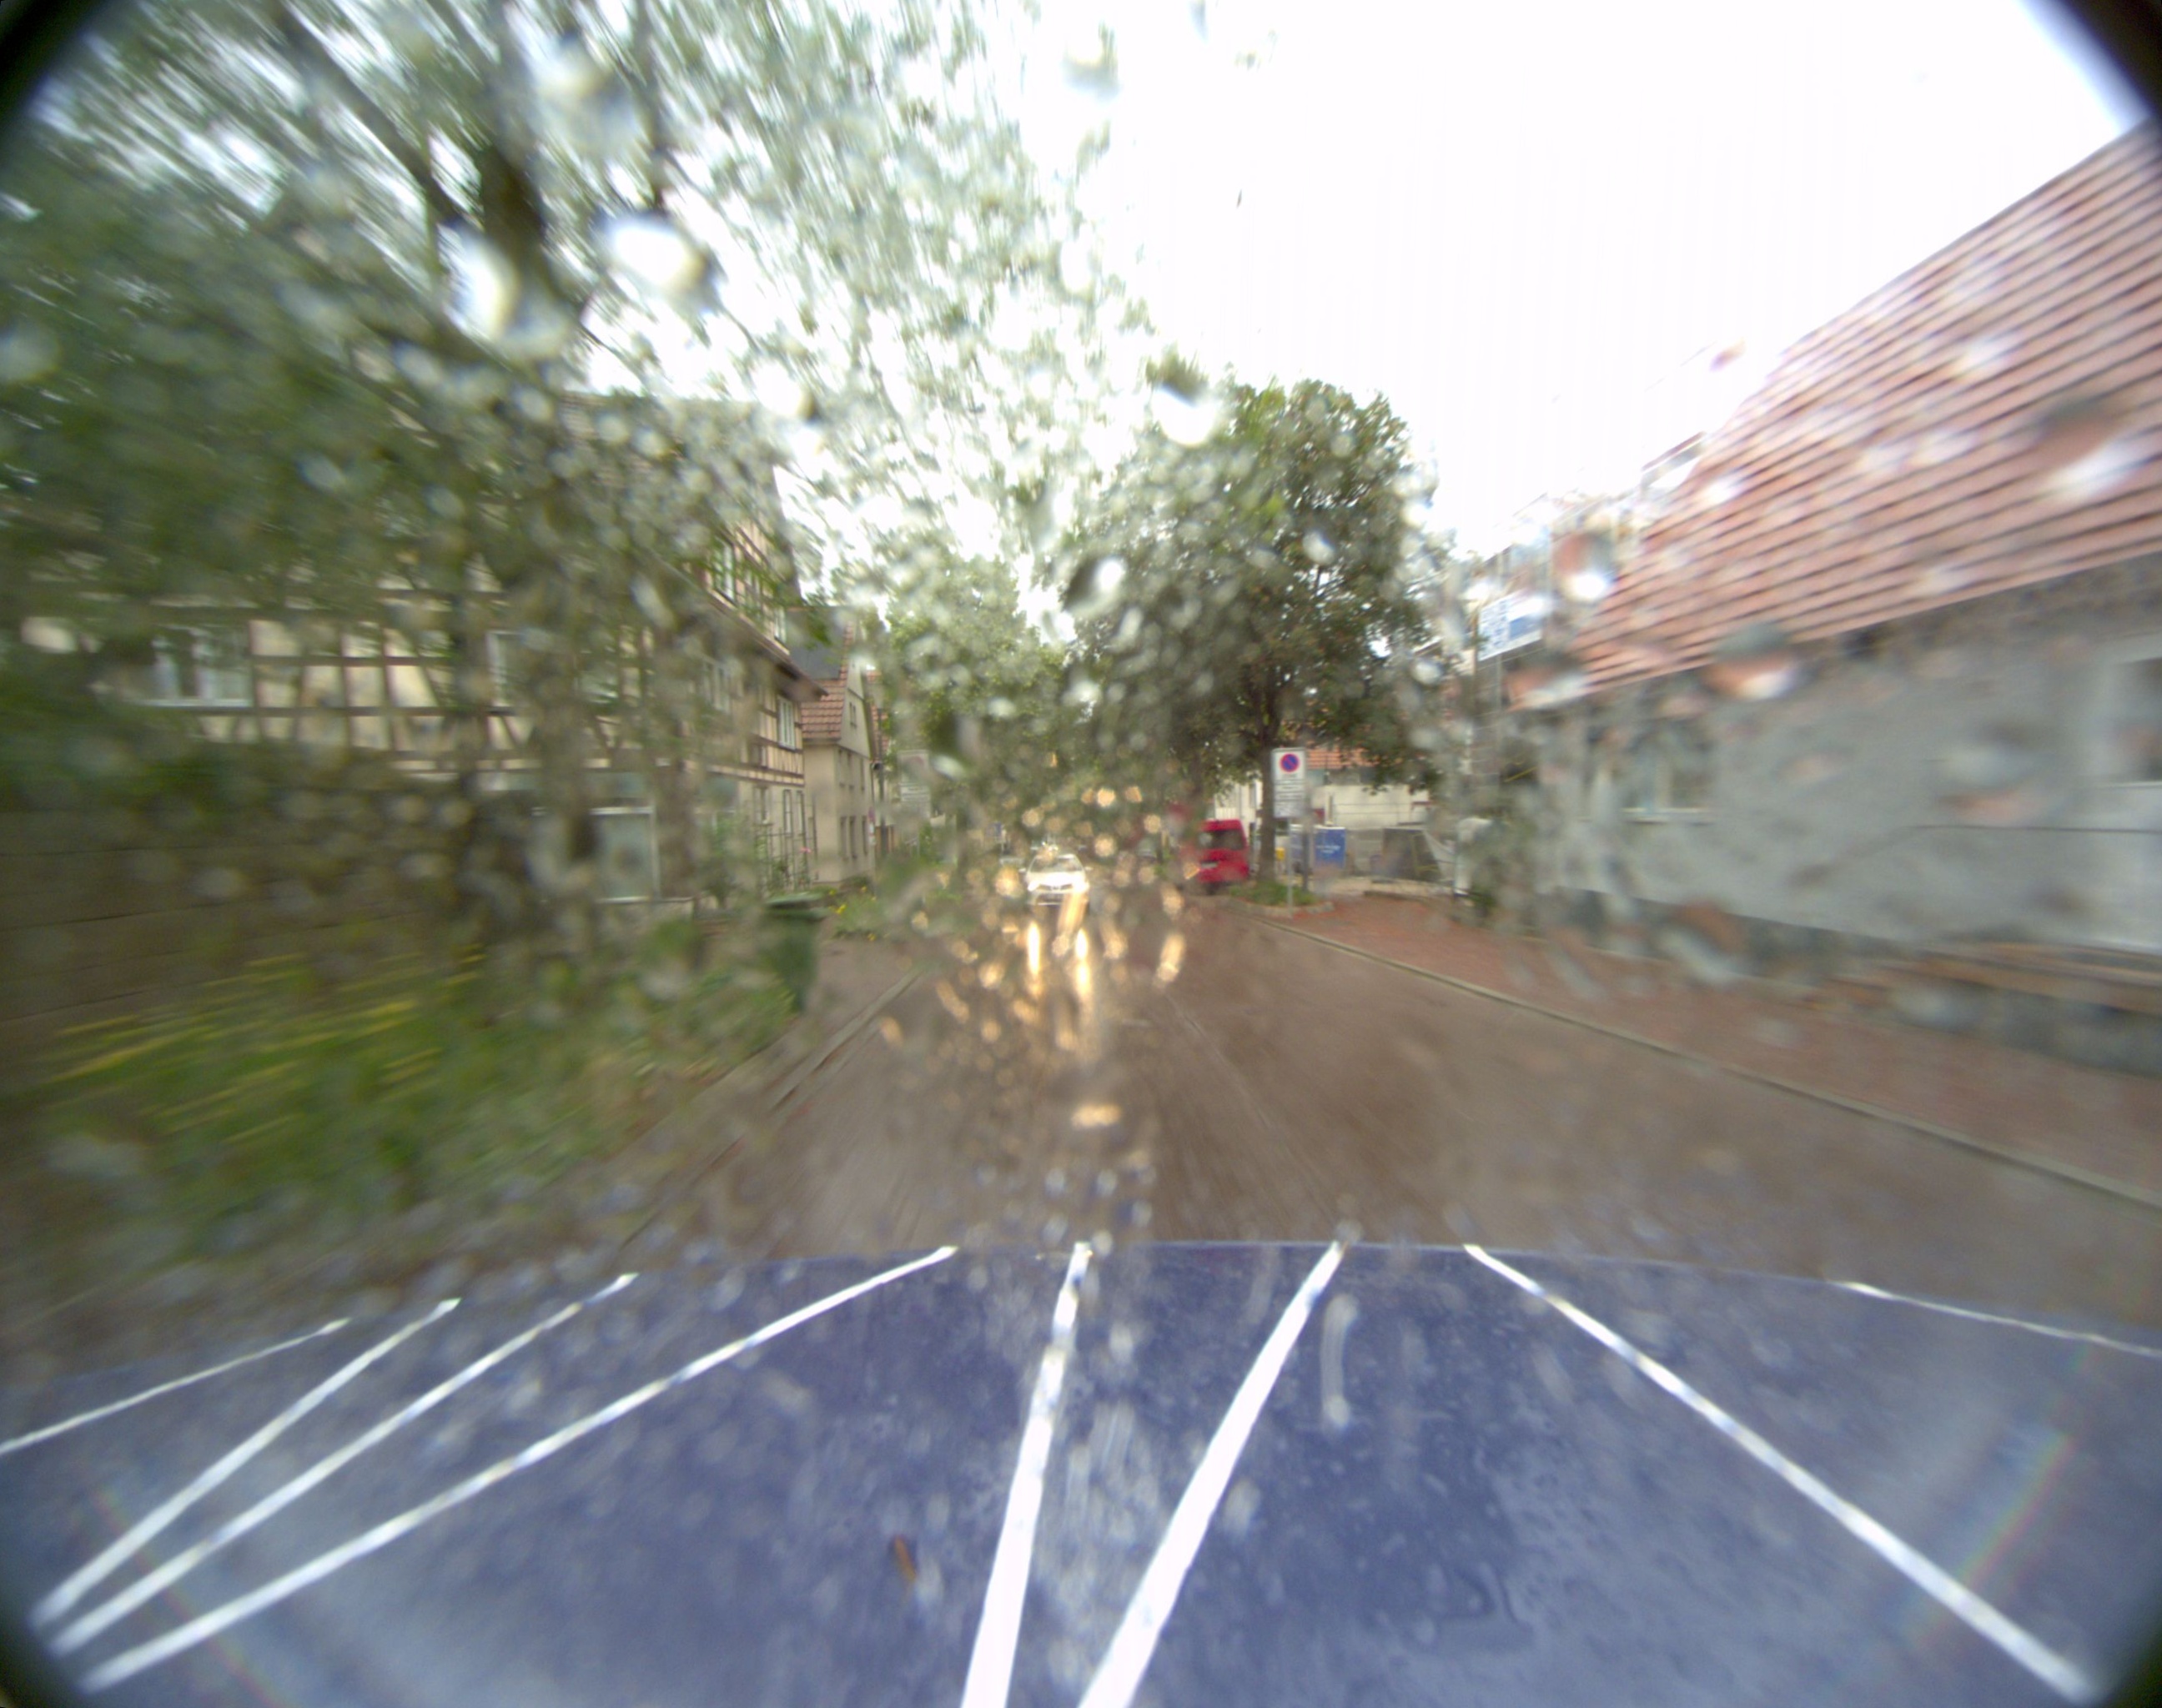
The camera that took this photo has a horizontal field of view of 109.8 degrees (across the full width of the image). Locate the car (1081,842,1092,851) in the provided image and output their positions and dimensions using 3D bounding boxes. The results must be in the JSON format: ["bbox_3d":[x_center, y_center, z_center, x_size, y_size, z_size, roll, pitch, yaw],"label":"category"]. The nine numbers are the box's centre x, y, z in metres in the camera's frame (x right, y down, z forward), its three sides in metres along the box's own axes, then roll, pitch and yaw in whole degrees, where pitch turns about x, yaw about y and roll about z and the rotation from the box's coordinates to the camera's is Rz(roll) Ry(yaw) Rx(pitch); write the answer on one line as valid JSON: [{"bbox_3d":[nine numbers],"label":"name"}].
[{"bbox_3d":[0.869,-1.265,130.670,1.754,1.388,3.794,-1,1,-1],"label":"car"}]

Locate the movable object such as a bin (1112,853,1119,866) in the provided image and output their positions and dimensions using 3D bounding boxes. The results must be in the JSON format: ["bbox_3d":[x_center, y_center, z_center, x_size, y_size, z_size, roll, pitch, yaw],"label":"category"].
[{"bbox_3d":[3.088,0.474,67.660,0.612,1.105,0.564,-1,1,0],"label":"movable object such as a bin"}]

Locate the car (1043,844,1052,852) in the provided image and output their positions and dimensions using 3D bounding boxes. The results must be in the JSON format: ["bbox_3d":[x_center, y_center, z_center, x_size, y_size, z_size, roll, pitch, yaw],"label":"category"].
[{"bbox_3d":[-6.280,-1.118,142.768,1.685,1.391,3.793,-1,1,-3],"label":"car"}]

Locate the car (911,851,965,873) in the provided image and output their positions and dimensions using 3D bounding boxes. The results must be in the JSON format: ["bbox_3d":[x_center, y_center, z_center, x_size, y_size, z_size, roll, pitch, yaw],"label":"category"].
[{"bbox_3d":[-9.560,0.526,50.893,3.375,1.422,1.630,0,1,-5],"label":"car"}]

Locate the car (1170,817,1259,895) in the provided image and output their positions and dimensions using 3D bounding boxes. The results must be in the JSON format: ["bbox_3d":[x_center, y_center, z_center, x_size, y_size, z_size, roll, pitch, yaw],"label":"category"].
[{"bbox_3d":[4.674,0.067,27.572,2.309,2.468,5.785,-1,0,1],"label":"car"}]

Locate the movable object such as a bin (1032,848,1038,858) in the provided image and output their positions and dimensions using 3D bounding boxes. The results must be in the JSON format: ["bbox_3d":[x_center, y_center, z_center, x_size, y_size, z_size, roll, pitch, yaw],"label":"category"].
[{"bbox_3d":[-5.110,-0.102,84.395,0.645,1.076,0.540,-2,2,-6],"label":"movable object such as a bin"}]

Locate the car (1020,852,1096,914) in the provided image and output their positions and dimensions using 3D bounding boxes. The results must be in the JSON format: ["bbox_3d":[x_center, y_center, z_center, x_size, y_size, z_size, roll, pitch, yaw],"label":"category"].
[{"bbox_3d":[-0.567,0.722,20.845,1.828,1.451,3.874,-2,1,0],"label":"car"}]

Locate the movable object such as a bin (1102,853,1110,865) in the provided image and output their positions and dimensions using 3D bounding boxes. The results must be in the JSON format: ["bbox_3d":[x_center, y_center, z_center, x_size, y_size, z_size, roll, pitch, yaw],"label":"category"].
[{"bbox_3d":[2.264,0.453,68.401,0.644,1.105,0.536,-1,1,0],"label":"movable object such as a bin"}]

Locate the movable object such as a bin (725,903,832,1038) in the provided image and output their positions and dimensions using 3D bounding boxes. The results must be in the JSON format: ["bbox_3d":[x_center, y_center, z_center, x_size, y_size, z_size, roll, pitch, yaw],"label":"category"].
[{"bbox_3d":[-2.836,1.072,7.198,0.725,1.136,0.703,-1,1,-4],"label":"movable object such as a bin"}]

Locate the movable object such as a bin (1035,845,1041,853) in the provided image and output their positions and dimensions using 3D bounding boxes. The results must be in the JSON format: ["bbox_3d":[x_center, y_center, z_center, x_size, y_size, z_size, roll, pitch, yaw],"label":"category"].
[{"bbox_3d":[-5.976,-0.716,104.891,0.799,1.069,0.878,-1,2,-2],"label":"movable object such as a bin"}]

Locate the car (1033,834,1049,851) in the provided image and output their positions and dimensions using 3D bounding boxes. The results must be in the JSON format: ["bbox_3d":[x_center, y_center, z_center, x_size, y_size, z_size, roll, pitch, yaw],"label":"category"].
[{"bbox_3d":[-5.931,-1.712,113.505,2.147,2.446,5.433,-1,1,-2],"label":"car"}]

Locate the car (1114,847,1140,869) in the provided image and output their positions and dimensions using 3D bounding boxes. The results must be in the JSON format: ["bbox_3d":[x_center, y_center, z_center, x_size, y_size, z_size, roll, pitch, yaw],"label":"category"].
[{"bbox_3d":[3.375,0.284,56.630,1.651,1.524,3.865,-2,1,0],"label":"car"}]

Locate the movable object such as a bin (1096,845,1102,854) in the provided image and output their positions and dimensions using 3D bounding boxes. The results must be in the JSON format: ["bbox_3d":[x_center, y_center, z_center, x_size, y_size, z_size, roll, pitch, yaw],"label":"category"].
[{"bbox_3d":[2.069,-0.520,87.751,0.596,1.056,0.545,-4,1,2],"label":"movable object such as a bin"}]

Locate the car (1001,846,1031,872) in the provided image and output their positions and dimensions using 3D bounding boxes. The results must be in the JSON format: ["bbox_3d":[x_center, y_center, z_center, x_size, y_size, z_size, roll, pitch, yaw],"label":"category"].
[{"bbox_3d":[-4.738,0.334,56.282,1.919,1.782,4.487,-1,1,-2],"label":"car"}]

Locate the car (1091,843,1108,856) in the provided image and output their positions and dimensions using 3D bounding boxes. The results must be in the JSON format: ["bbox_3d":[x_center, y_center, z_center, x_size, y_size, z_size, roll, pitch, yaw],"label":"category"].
[{"bbox_3d":[2.272,-0.572,94.338,1.777,1.381,4.544,-3,1,-1],"label":"car"}]

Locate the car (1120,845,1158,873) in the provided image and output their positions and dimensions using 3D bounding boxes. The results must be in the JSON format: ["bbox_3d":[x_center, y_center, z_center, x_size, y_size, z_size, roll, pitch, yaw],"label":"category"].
[{"bbox_3d":[3.564,0.288,47.183,1.776,1.544,3.998,-3,1,-3],"label":"car"}]

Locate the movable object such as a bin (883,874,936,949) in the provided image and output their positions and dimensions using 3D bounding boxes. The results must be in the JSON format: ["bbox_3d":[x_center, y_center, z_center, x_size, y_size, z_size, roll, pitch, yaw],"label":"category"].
[{"bbox_3d":[-2.935,0.973,13.058,0.723,1.206,0.727,-1,1,-1],"label":"movable object such as a bin"}]
